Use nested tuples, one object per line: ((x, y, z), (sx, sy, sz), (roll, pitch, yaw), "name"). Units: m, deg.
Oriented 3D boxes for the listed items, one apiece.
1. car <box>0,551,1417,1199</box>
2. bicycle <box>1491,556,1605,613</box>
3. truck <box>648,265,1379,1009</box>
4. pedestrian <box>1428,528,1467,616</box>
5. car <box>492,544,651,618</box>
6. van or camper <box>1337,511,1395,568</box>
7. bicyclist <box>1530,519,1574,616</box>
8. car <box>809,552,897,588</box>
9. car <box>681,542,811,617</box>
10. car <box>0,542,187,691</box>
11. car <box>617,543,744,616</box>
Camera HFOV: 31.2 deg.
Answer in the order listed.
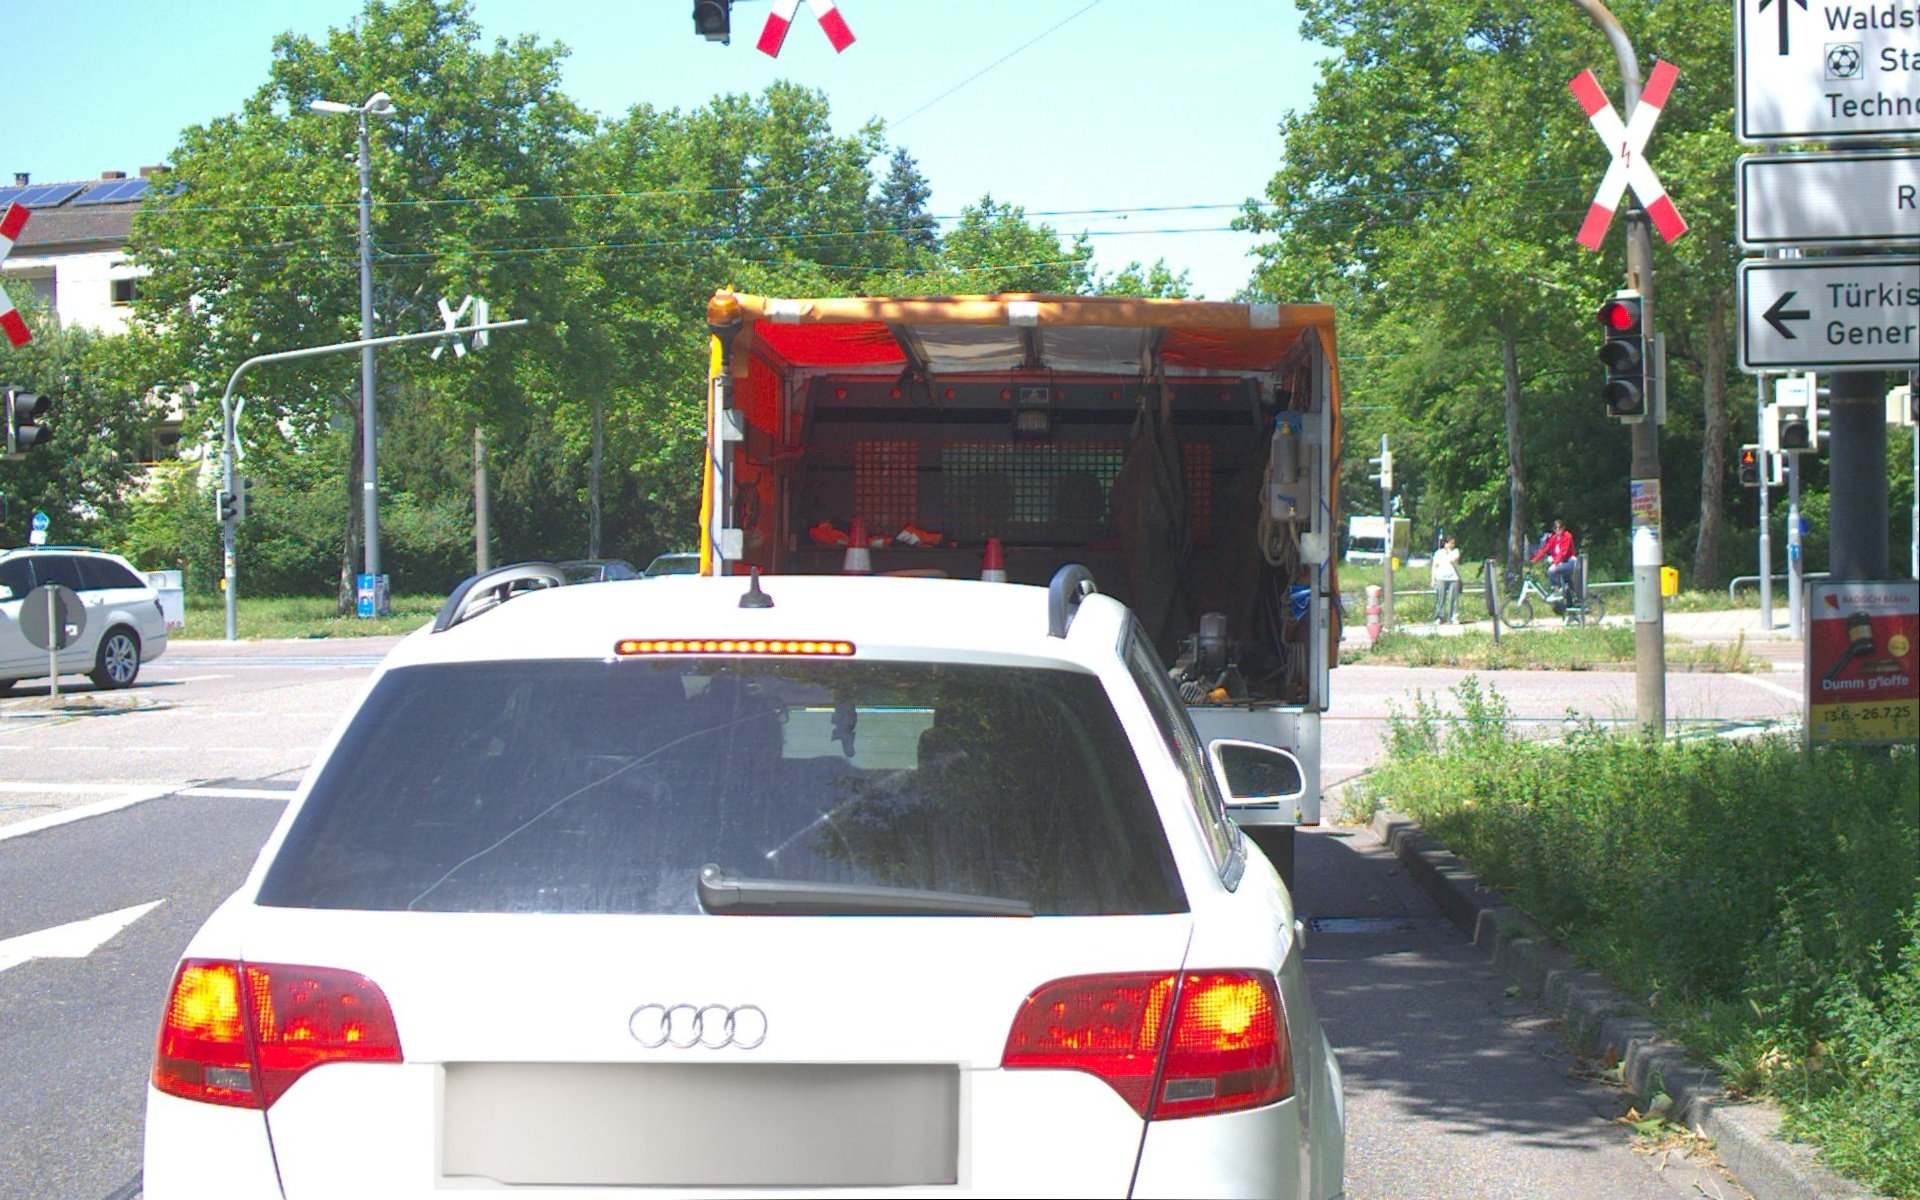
((-0.220, 0.647, 6.002), (1.763, 1.440, 3.615), (0, 1, 4), "car")
((9.541, -0.247, 55.820), (1.806, 0.892, 0.589), (-1, 1, 8), "bicycle")
((0.351, 0.072, 15.764), (2.511, 2.551, 7.603), (1, 1, 3), "truck")
((8.277, -0.484, 58.371), (0.553, 1.479, 0.629), (-1, 1, 16), "pedestrian")
((-8.243, -0.432, 73.393), (1.950, 1.435, 4.744), (0, 2, 12), "car")
((23.816, -3.541, 201.295), (2.662, 3.320, 5.497), (0, 1, 14), "van or camper")
((9.610, -0.532, 55.801), (0.671, 1.551, 0.579), (-1, 1, 8), "bicyclist")
((-4.303, -1.230, 139.214), (1.884, 1.388, 3.994), (0, 1, 26), "car")
((-4.580, -0.465, 74.127), (1.909, 1.533, 4.297), (-1, 1, 8), "car")
((-9.874, 0.161, 34.084), (1.856, 1.413, 4.541), (0, 1, 26), "car")
((-6.540, -0.503, 80.766), (1.788, 1.609, 4.402), (-1, 1, 12), "car")
